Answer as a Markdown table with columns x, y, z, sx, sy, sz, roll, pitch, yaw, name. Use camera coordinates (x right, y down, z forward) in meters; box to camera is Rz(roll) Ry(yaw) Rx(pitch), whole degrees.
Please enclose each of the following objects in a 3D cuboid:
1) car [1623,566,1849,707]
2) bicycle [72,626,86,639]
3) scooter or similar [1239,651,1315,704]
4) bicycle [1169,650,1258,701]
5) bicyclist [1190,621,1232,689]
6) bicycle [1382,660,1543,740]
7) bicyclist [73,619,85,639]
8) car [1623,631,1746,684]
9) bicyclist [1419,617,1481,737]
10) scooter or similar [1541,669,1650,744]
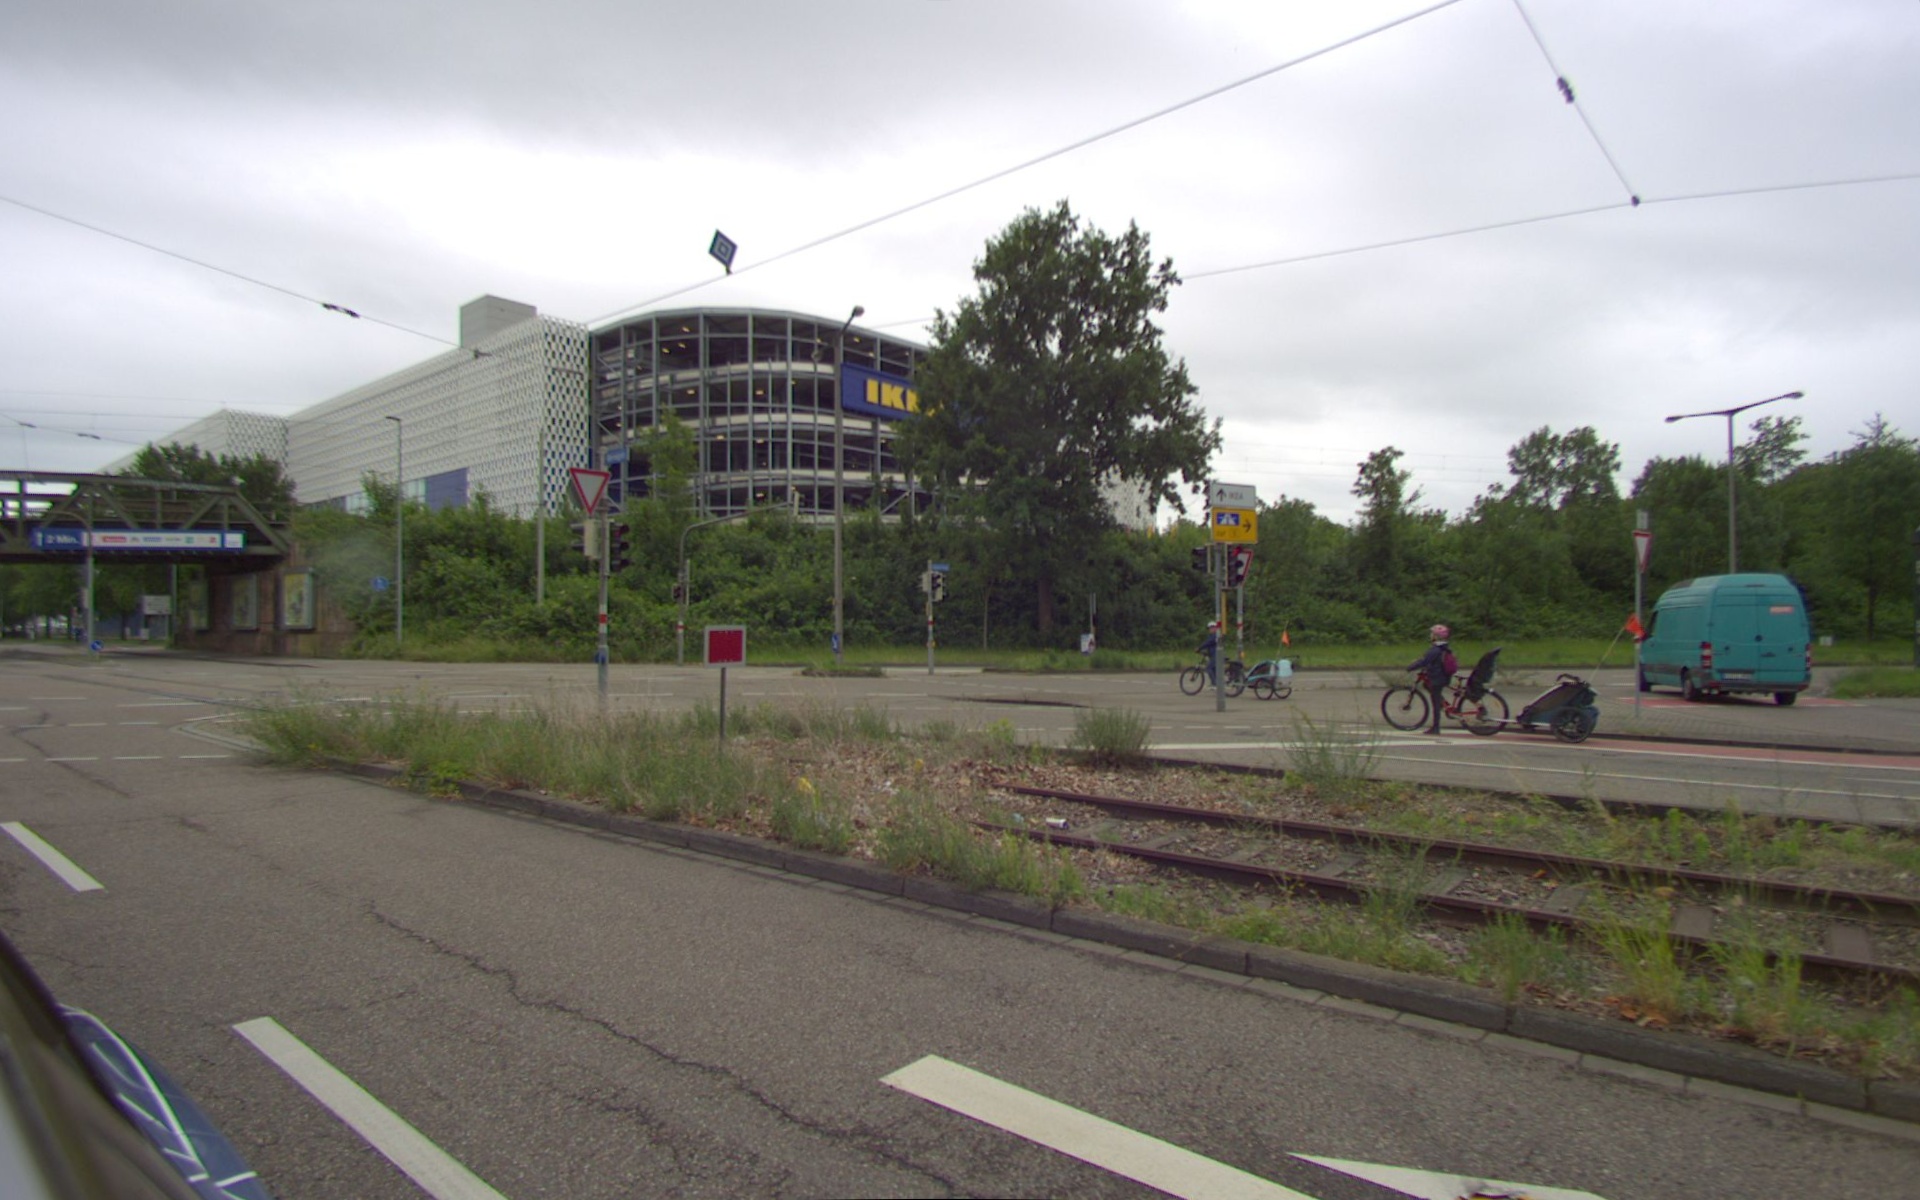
| x | y | z | sx | sy | sz | roll | pitch | yaw | name |
| --- | --- | --- | --- | --- | --- | --- | --- | --- | --- |
| 17.767 | 0.820 | 23.648 | 2.317 | 2.847 | 5.912 | -1 | -2 | 18 | car |
| -85.193 | 3.140 | 97.880 | 2.369 | 1.196 | 0.705 | -1 | 0 | 40 | bicycle |
| 6.898 | 1.667 | 22.076 | 0.637 | 1.070 | 1.453 | -1 | -1 | -37 | scooter or similar |
| 5.849 | 1.718 | 23.452 | 0.637 | 1.070 | 2.005 | -1 | -1 | -37 | bicycle |
| 5.825 | 1.255 | 23.470 | 0.637 | 1.530 | 0.628 | -1 | -1 | -37 | bicyclist |
| 7.326 | 1.428 | 14.798 | 2.018 | 1.070 | 0.640 | -2 | -1 | 34 | bicycle |
| -85.205 | 2.792 | 97.889 | 1.019 | 1.888 | 0.695 | -1 | 0 | 40 | bicyclist |
| 22.381 | 1.722 | 31.247 | 3.607 | 1.539 | 1.779 | 1 | -2 | -32 | car |
| 7.206 | 1.114 | 14.879 | 0.684 | 1.696 | 0.640 | -2 | -1 | 34 | bicyclist |
| 8.665 | 1.430 | 13.809 | 1.194 | 0.914 | 0.837 | -2 | -1 | 34 | scooter or similar |
